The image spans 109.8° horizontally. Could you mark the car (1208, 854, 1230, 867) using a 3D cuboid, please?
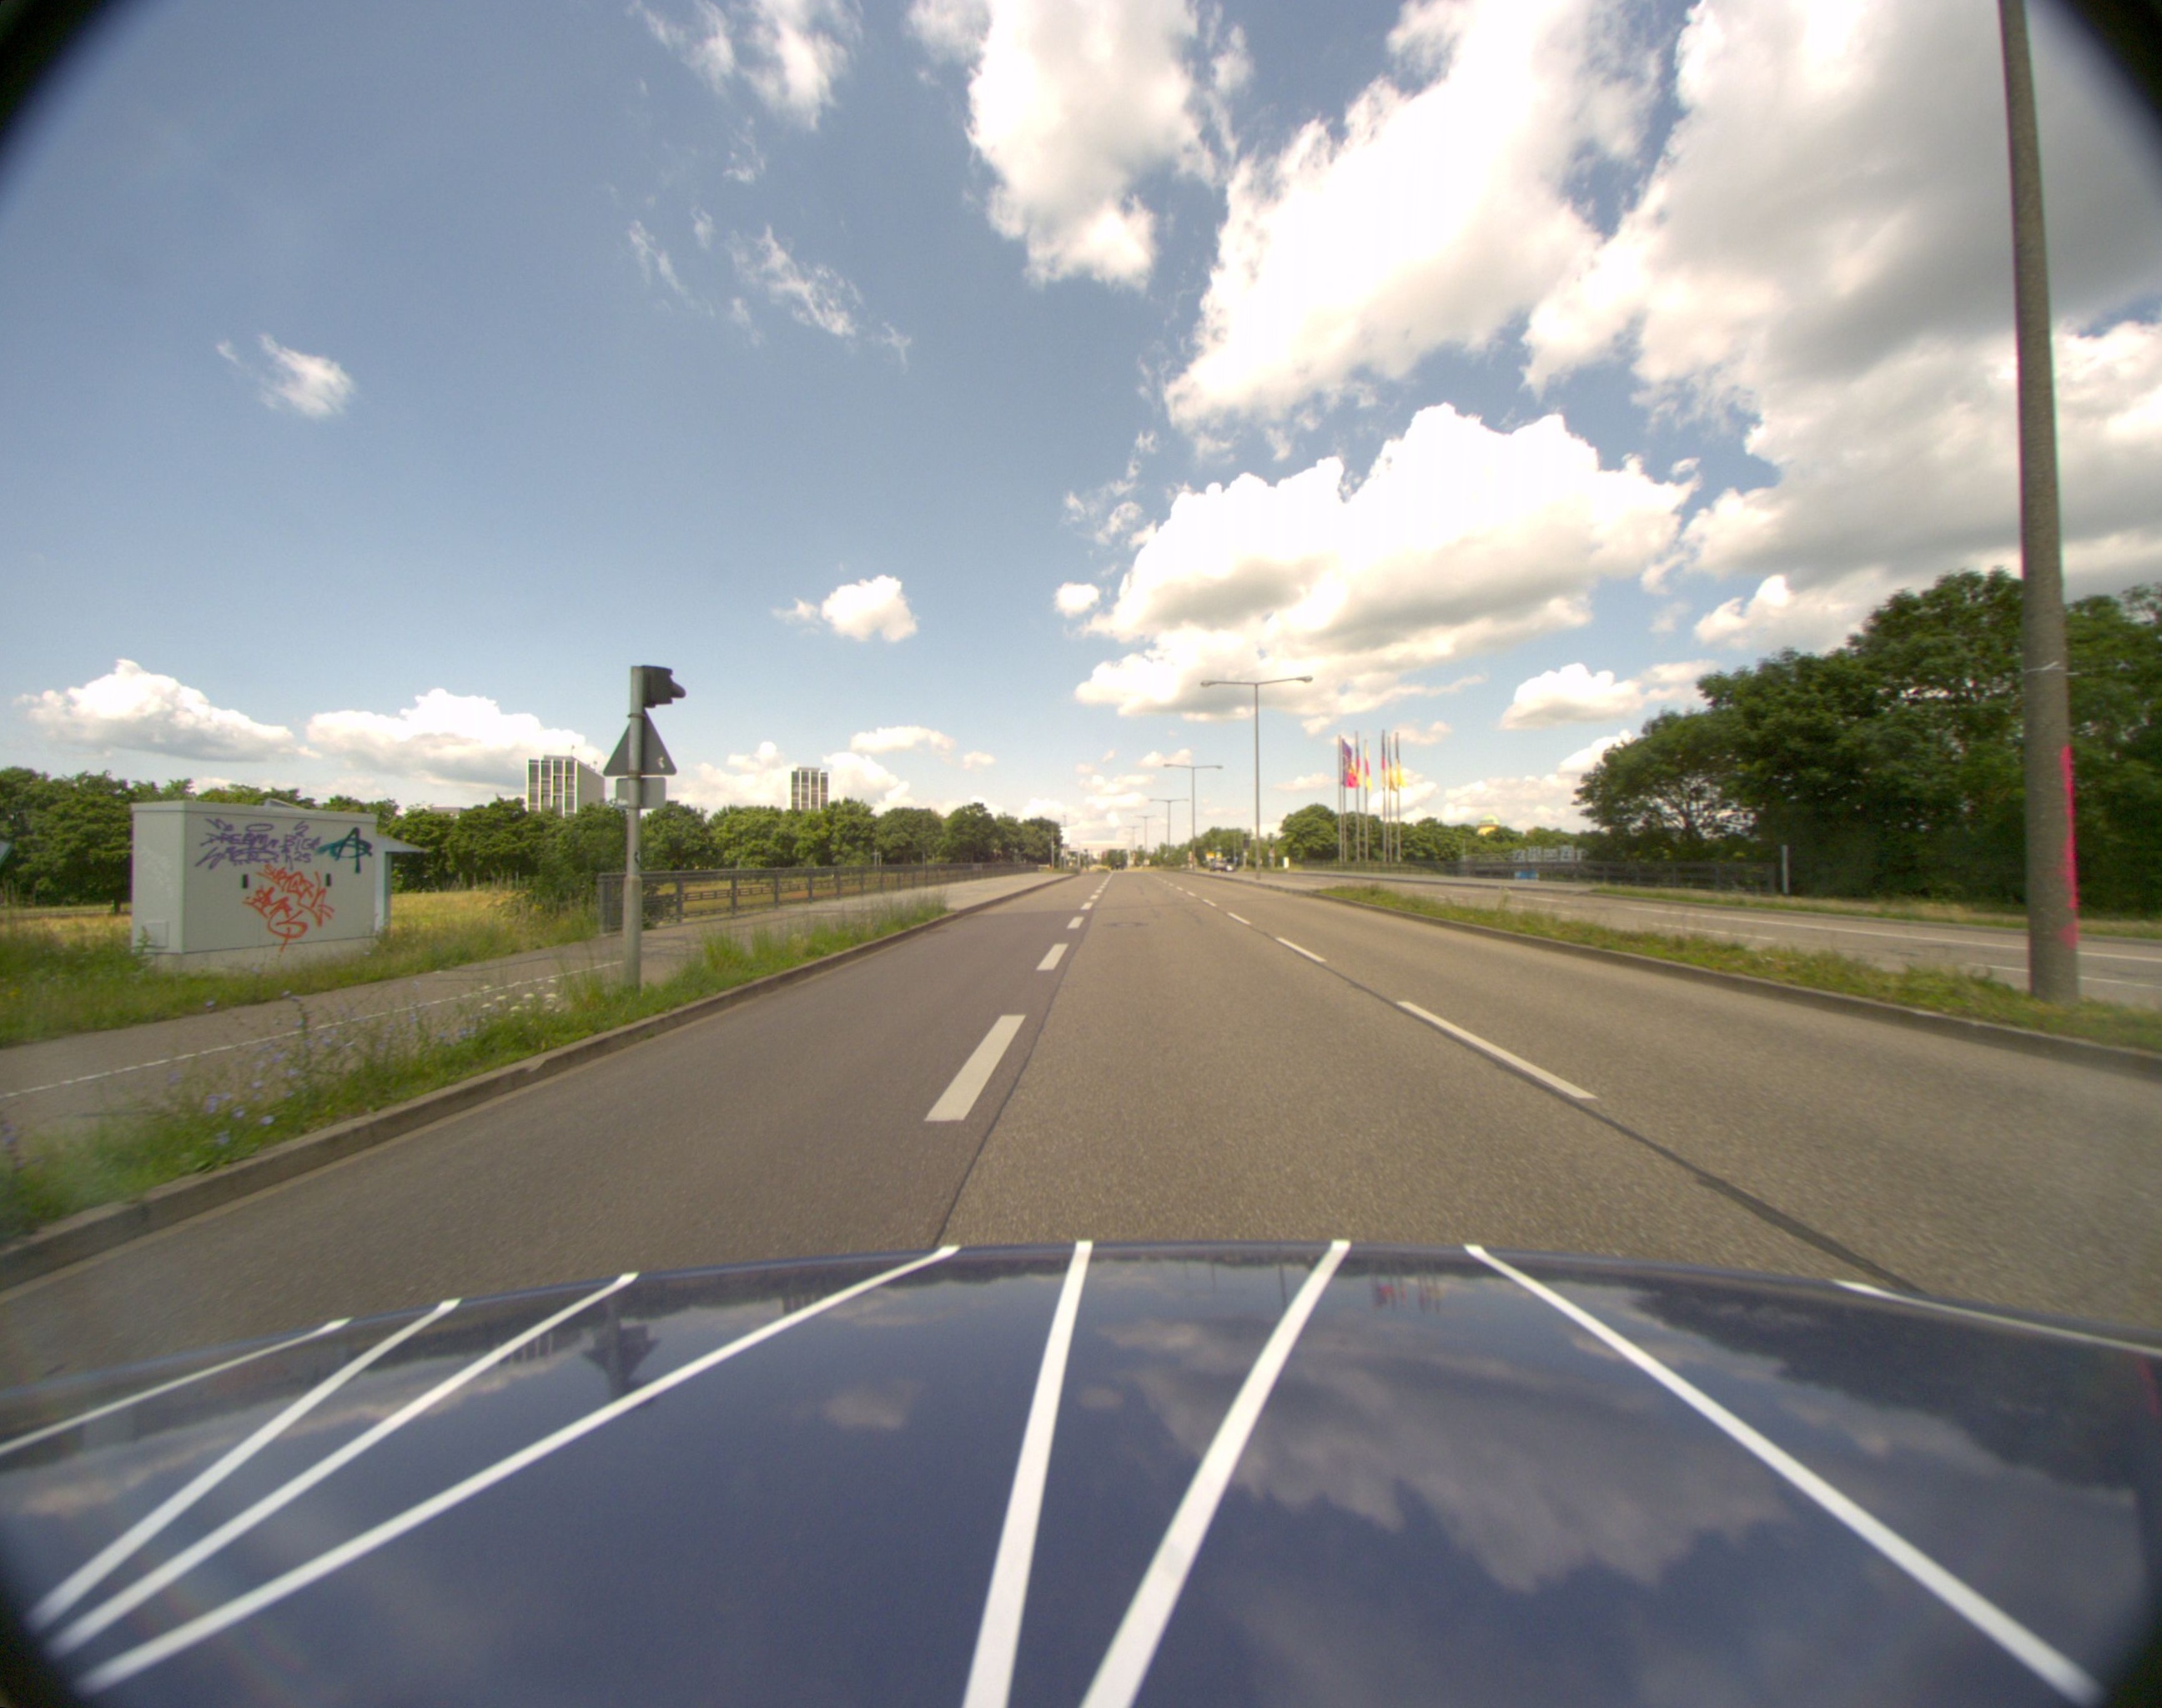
[{"bbox_3d":[19.139,0.966,105.455,2.093,1.616,4.550,4,-1,0],"label":"car"}]
